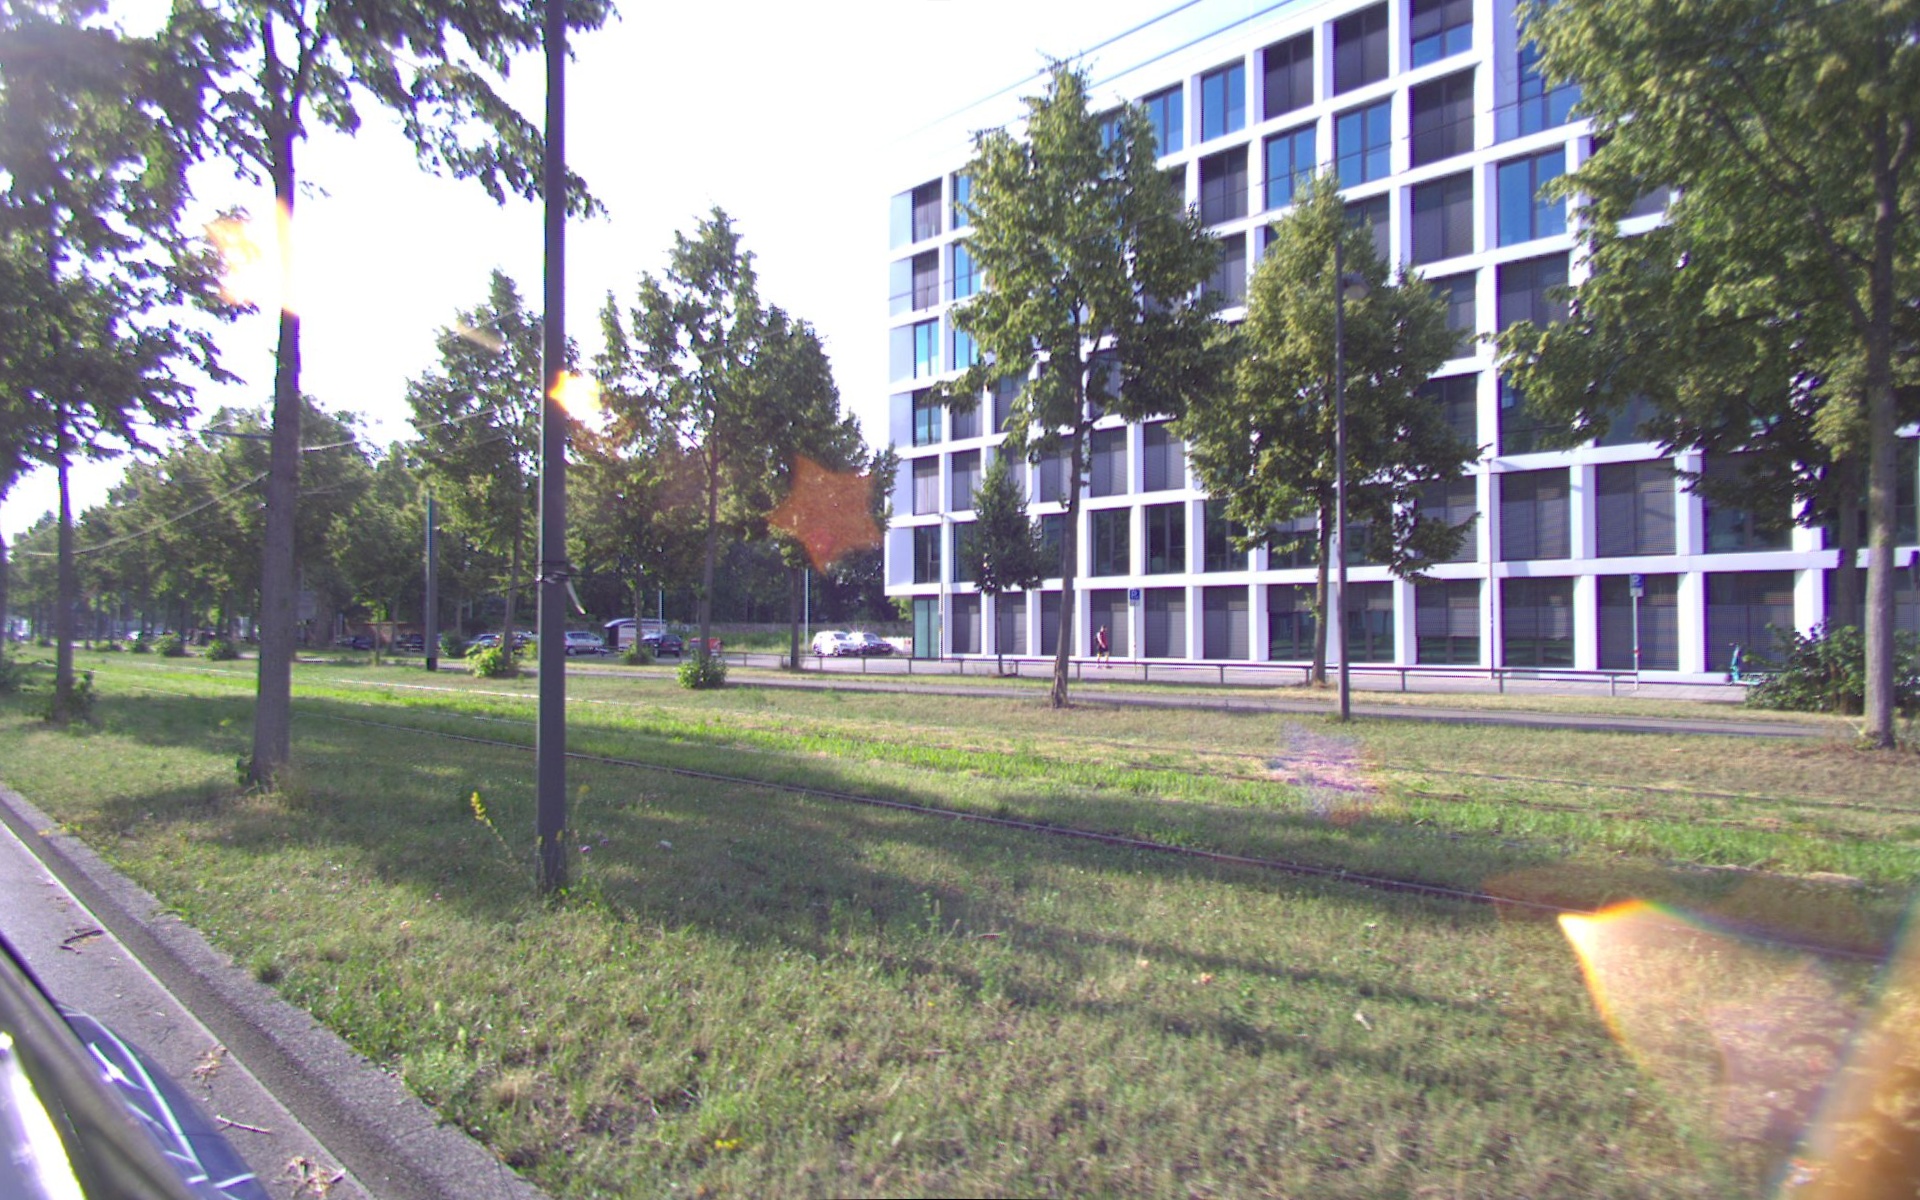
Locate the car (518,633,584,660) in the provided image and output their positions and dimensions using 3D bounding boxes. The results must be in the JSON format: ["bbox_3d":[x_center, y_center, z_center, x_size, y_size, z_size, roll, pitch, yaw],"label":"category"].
[{"bbox_3d":[-28.631,3.243,70.931,1.757,1.655,3.950,-1,0,41],"label":"car"}]

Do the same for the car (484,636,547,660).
[{"bbox_3d":[-33.544,3.614,76.366,1.856,1.572,3.943,-1,0,43],"label":"car"}]

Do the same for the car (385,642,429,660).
[{"bbox_3d":[-49.650,4.561,90.897,4.352,1.453,1.770,-1,0,36],"label":"car"}]

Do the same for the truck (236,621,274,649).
[{"bbox_3d":[-93.651,4.623,134.336,2.855,3.542,7.950,-1,0,-44],"label":"truck"}]

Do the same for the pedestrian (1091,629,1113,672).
[{"bbox_3d":[5.864,2.066,41.802,0.691,1.741,0.561,-1,0,41],"label":"pedestrian"}]

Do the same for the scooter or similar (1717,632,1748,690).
[{"bbox_3d":[21.384,1.653,28.005,0.415,1.488,1.907,-1,0,45],"label":"scooter or similar"}]

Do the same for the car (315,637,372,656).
[{"bbox_3d":[-50.396,3.805,82.707,3.997,1.446,1.679,-1,0,15],"label":"car"}]

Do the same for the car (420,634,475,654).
[{"bbox_3d":[-43.748,3.740,86.422,3.810,1.497,1.746,-1,0,-41],"label":"car"}]

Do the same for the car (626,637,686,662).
[{"bbox_3d":[-18.756,3.035,62.369,3.756,1.404,1.663,-1,0,38],"label":"car"}]

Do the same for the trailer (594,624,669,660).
[{"bbox_3d":[-21.317,2.691,65.733,1.758,2.069,4.315,-1,0,44],"label":"trailer"}]

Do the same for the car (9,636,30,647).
[{"bbox_3d":[-137.251,6.027,147.686,4.811,1.487,1.664,-1,-4,41],"label":"car"}]

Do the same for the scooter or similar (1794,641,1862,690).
[{"bbox_3d":[23.056,1.718,26.891,0.331,1.235,1.302,-1,0,-35],"label":"scooter or similar"}]

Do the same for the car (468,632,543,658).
[{"bbox_3d":[-35.107,3.459,78.263,1.886,1.748,5.004,-1,0,43],"label":"car"}]

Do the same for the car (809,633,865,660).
[{"bbox_3d":[-8.218,3.078,67.369,1.824,1.608,4.008,-1,0,-38],"label":"car"}]

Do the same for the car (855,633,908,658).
[{"bbox_3d":[-5.329,3.060,68.566,1.662,1.569,4.009,-1,0,-37],"label":"car"}]

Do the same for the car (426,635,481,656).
[{"bbox_3d":[-42.305,3.766,84.592,3.810,1.497,1.746,-1,0,-41],"label":"car"}]

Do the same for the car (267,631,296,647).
[{"bbox_3d":[-78.867,4.521,117.624,4.474,1.624,1.811,-1,0,42],"label":"car"}]

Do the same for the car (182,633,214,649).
[{"bbox_3d":[-77.965,4.160,103.486,4.474,1.442,1.811,-1,0,42],"label":"car"}]

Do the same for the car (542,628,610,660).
[{"bbox_3d":[-26.108,2.990,68.859,1.757,1.962,3.950,-1,0,41],"label":"car"}]
